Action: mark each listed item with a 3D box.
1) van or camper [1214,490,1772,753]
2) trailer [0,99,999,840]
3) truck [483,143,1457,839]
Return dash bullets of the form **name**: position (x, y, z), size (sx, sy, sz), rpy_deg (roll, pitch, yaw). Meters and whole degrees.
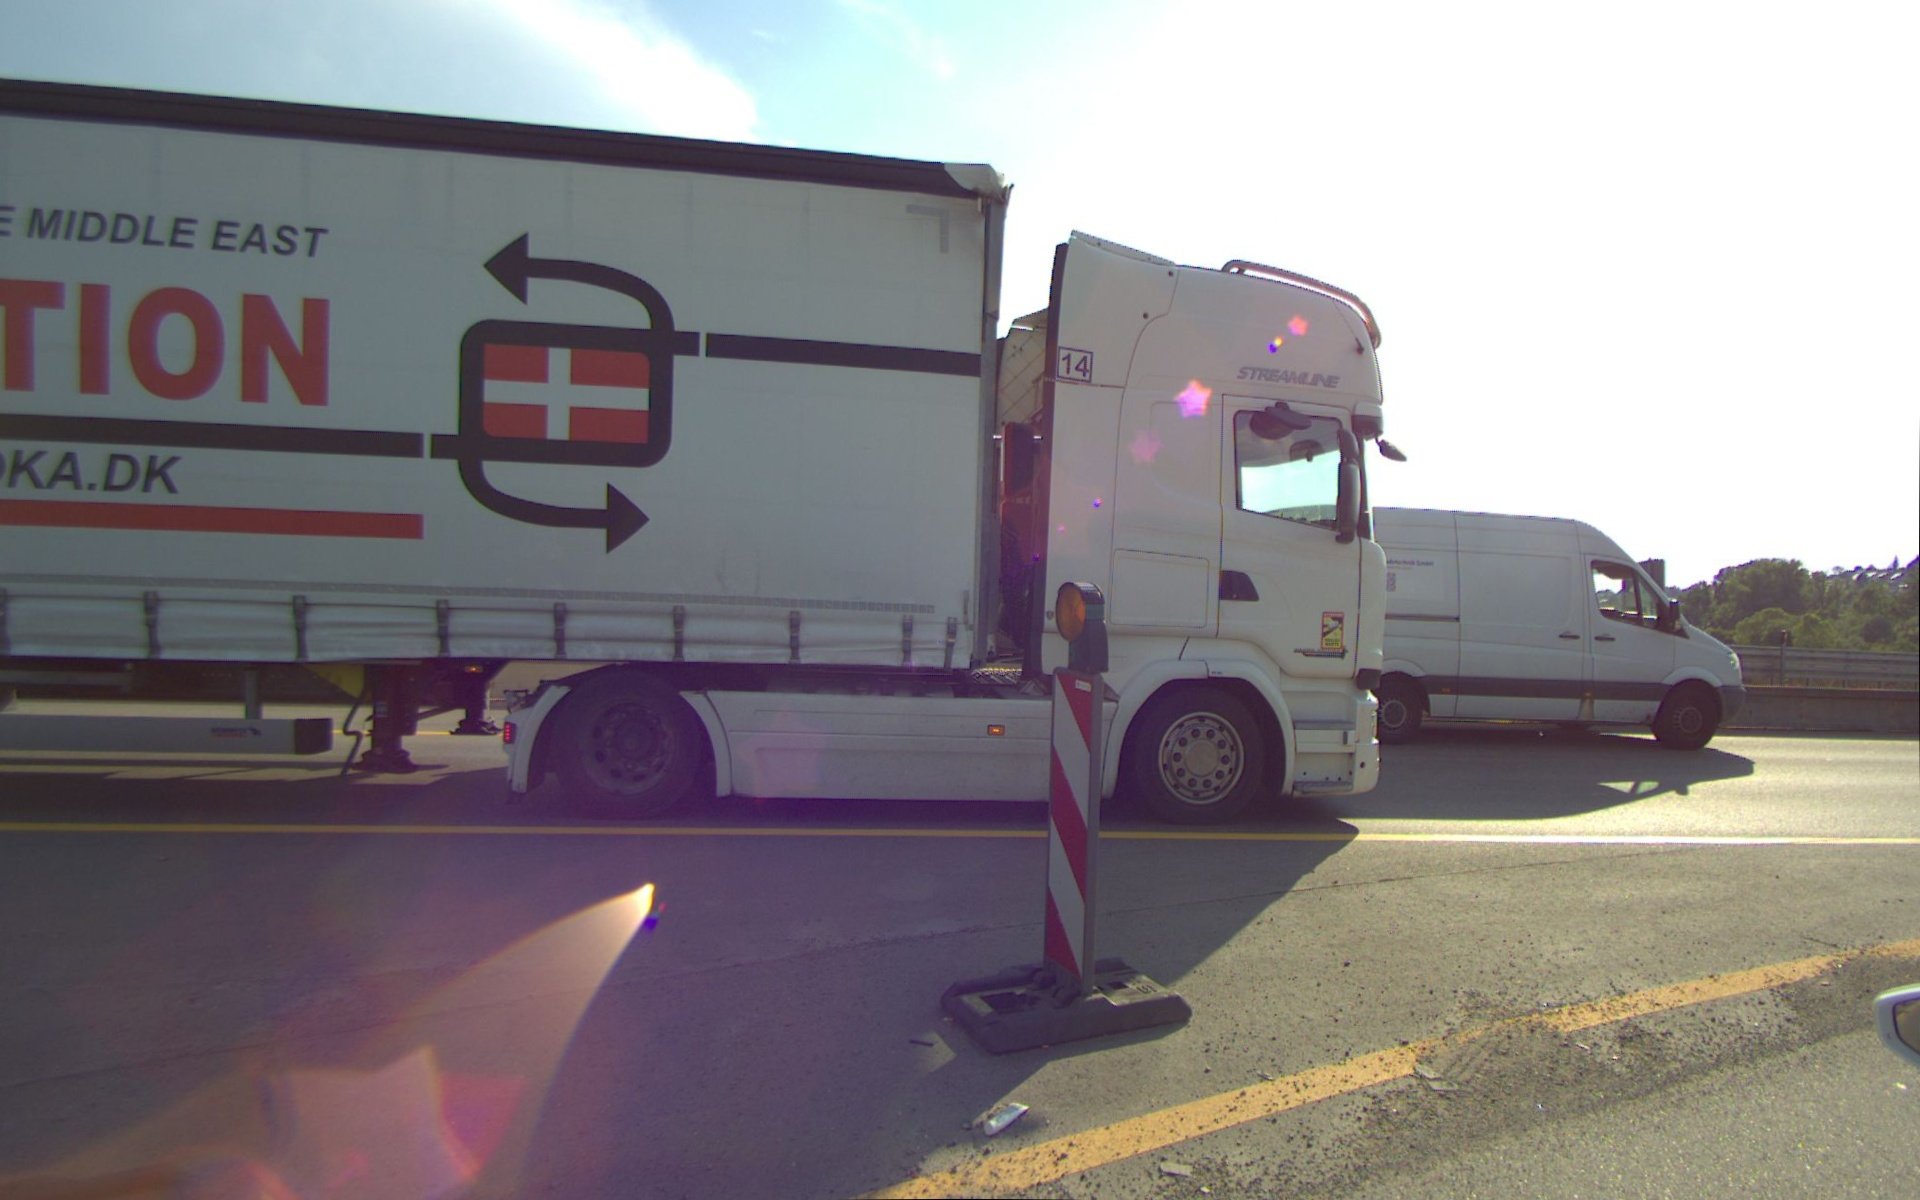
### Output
- **van or camper**: position (6.245, 0.296, 12.060), size (5.796, 2.654, 1.997), rpy_deg (3, 0, -8)
- **trailer**: position (-6.619, -0.804, 6.516), size (13.379, 3.929, 2.485), rpy_deg (3, -1, -8)
- **truck**: position (0.111, -0.530, 7.423), size (5.901, 3.929, 2.485), rpy_deg (3, -1, -7)
